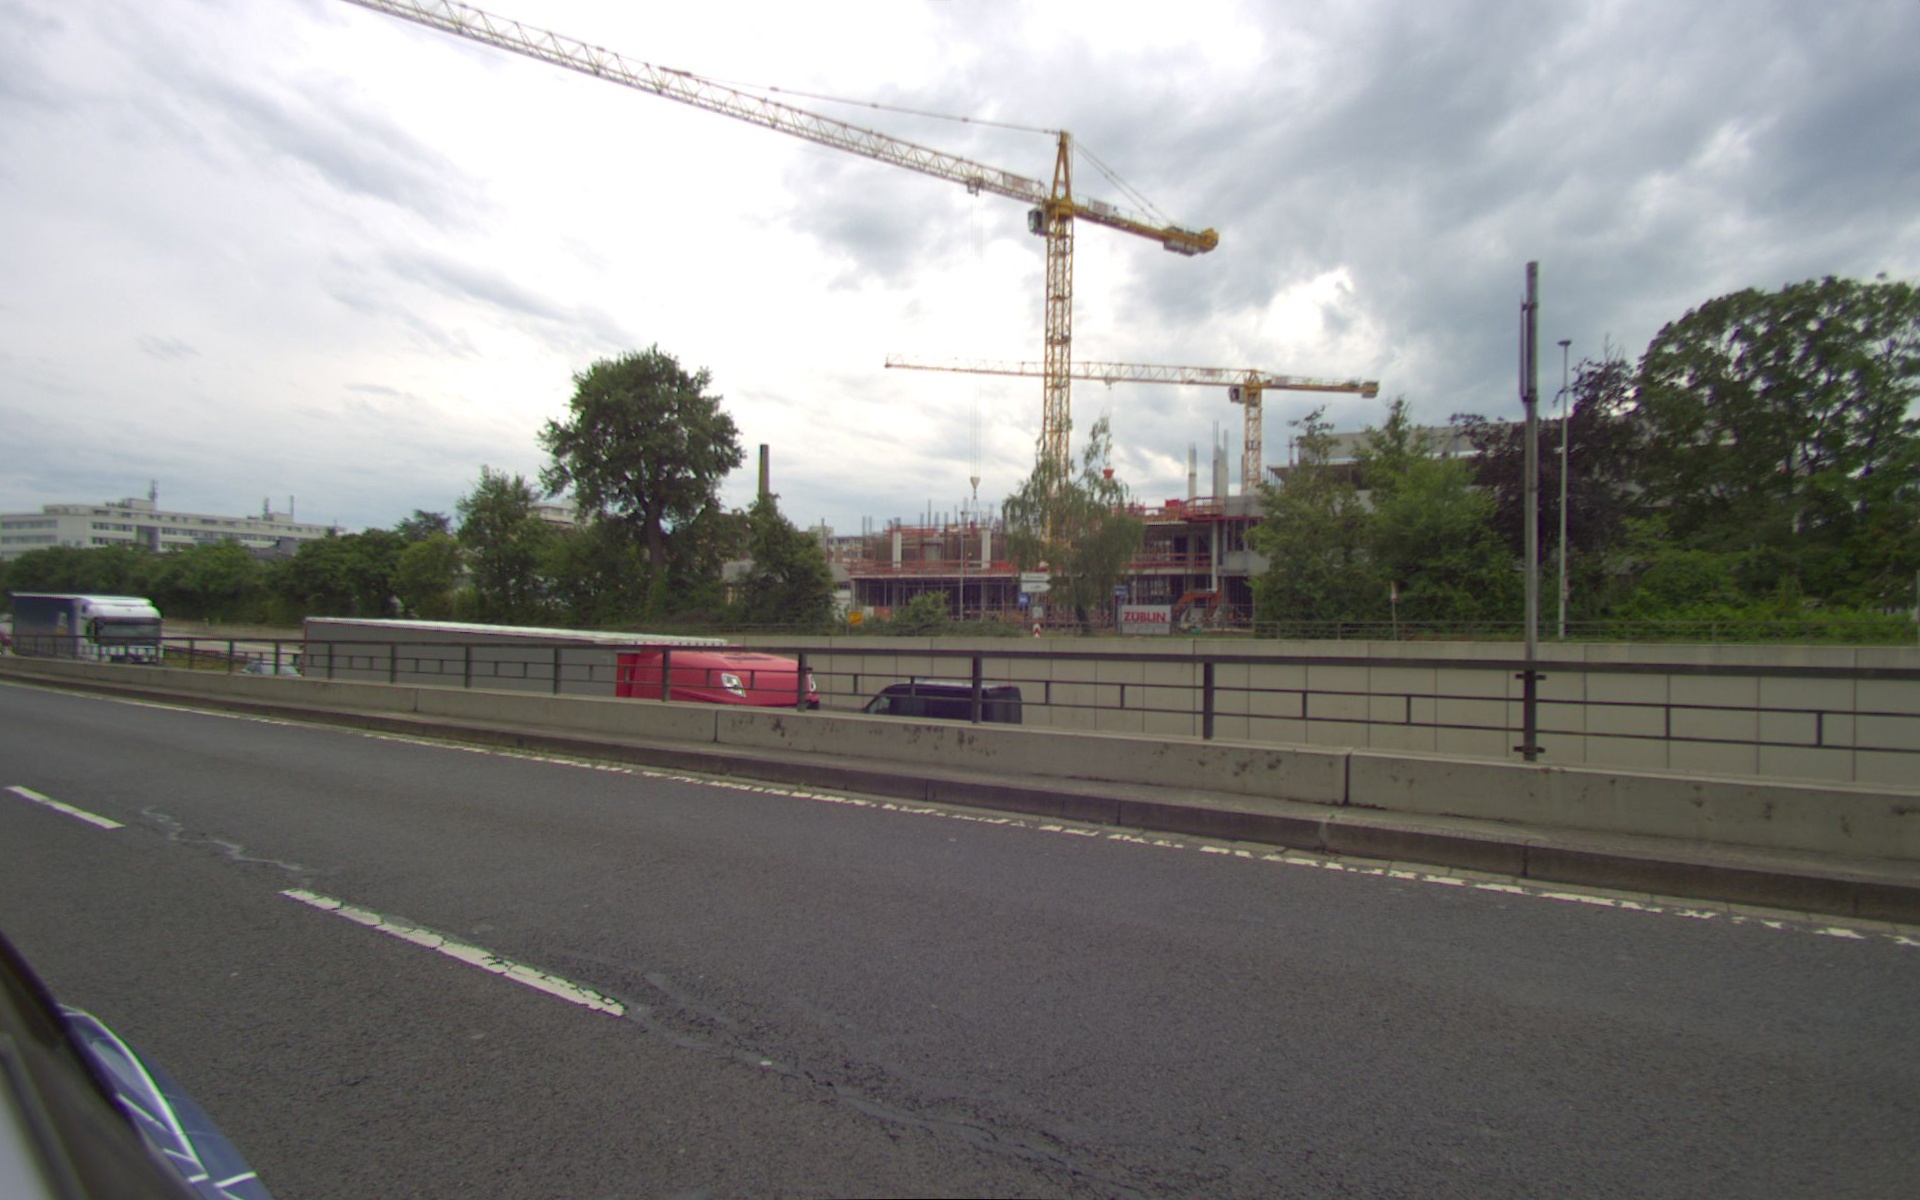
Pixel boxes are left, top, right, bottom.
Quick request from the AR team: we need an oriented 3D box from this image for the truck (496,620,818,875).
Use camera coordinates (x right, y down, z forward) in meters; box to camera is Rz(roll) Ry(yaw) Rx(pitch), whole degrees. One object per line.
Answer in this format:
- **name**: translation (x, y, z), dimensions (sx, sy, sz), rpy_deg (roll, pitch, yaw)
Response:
- **truck**: translation (-5.883, 2.438, 19.251), dimensions (6.192, 4.067, 2.680), rpy_deg (-1, -2, 37)

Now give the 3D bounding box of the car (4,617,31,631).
- **car**: translation (-104.535, 2.666, 112.238), dimensions (3.995, 1.452, 1.608), rpy_deg (-1, 0, 38)

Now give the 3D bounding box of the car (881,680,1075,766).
- **car**: translation (0.445, 3.453, 29.357), dimensions (5.473, 2.029, 1.976), rpy_deg (-1, -1, 35)

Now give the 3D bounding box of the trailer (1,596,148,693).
- **trailer**: translation (-42.107, 1.935, 47.816), dimensions (14.764, 4.067, 2.500), rpy_deg (-1, -2, 38)

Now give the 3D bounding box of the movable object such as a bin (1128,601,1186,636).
- **movable object such as a bin**: translation (12.195, 1.137, 62.659), dimensions (3.051, 2.029, 1.743), rpy_deg (0, -5, 30)

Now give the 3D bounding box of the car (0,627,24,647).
- **car**: translation (-72.140, 2.788, 76.410), dimensions (3.995, 1.452, 1.608), rpy_deg (-1, 0, 38)

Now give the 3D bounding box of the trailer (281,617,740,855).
- **trailer**: translation (-10.939, 2.478, 23.004), dimensions (14.527, 4.067, 2.627), rpy_deg (0, -2, 36)

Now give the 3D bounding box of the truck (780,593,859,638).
- **truck**: translation (-10.006, 1.061, 71.490), dimensions (1.991, 3.009, 7.110), rpy_deg (0, 0, -40)

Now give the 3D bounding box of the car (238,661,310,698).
- **car**: translation (-30.633, 3.512, 45.175), dimensions (3.893, 1.452, 1.607), rpy_deg (0, -2, 40)

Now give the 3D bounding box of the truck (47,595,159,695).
- **truck**: translation (-37.406, 1.891, 44.114), dimensions (6.089, 4.067, 2.500), rpy_deg (-1, -2, 38)
